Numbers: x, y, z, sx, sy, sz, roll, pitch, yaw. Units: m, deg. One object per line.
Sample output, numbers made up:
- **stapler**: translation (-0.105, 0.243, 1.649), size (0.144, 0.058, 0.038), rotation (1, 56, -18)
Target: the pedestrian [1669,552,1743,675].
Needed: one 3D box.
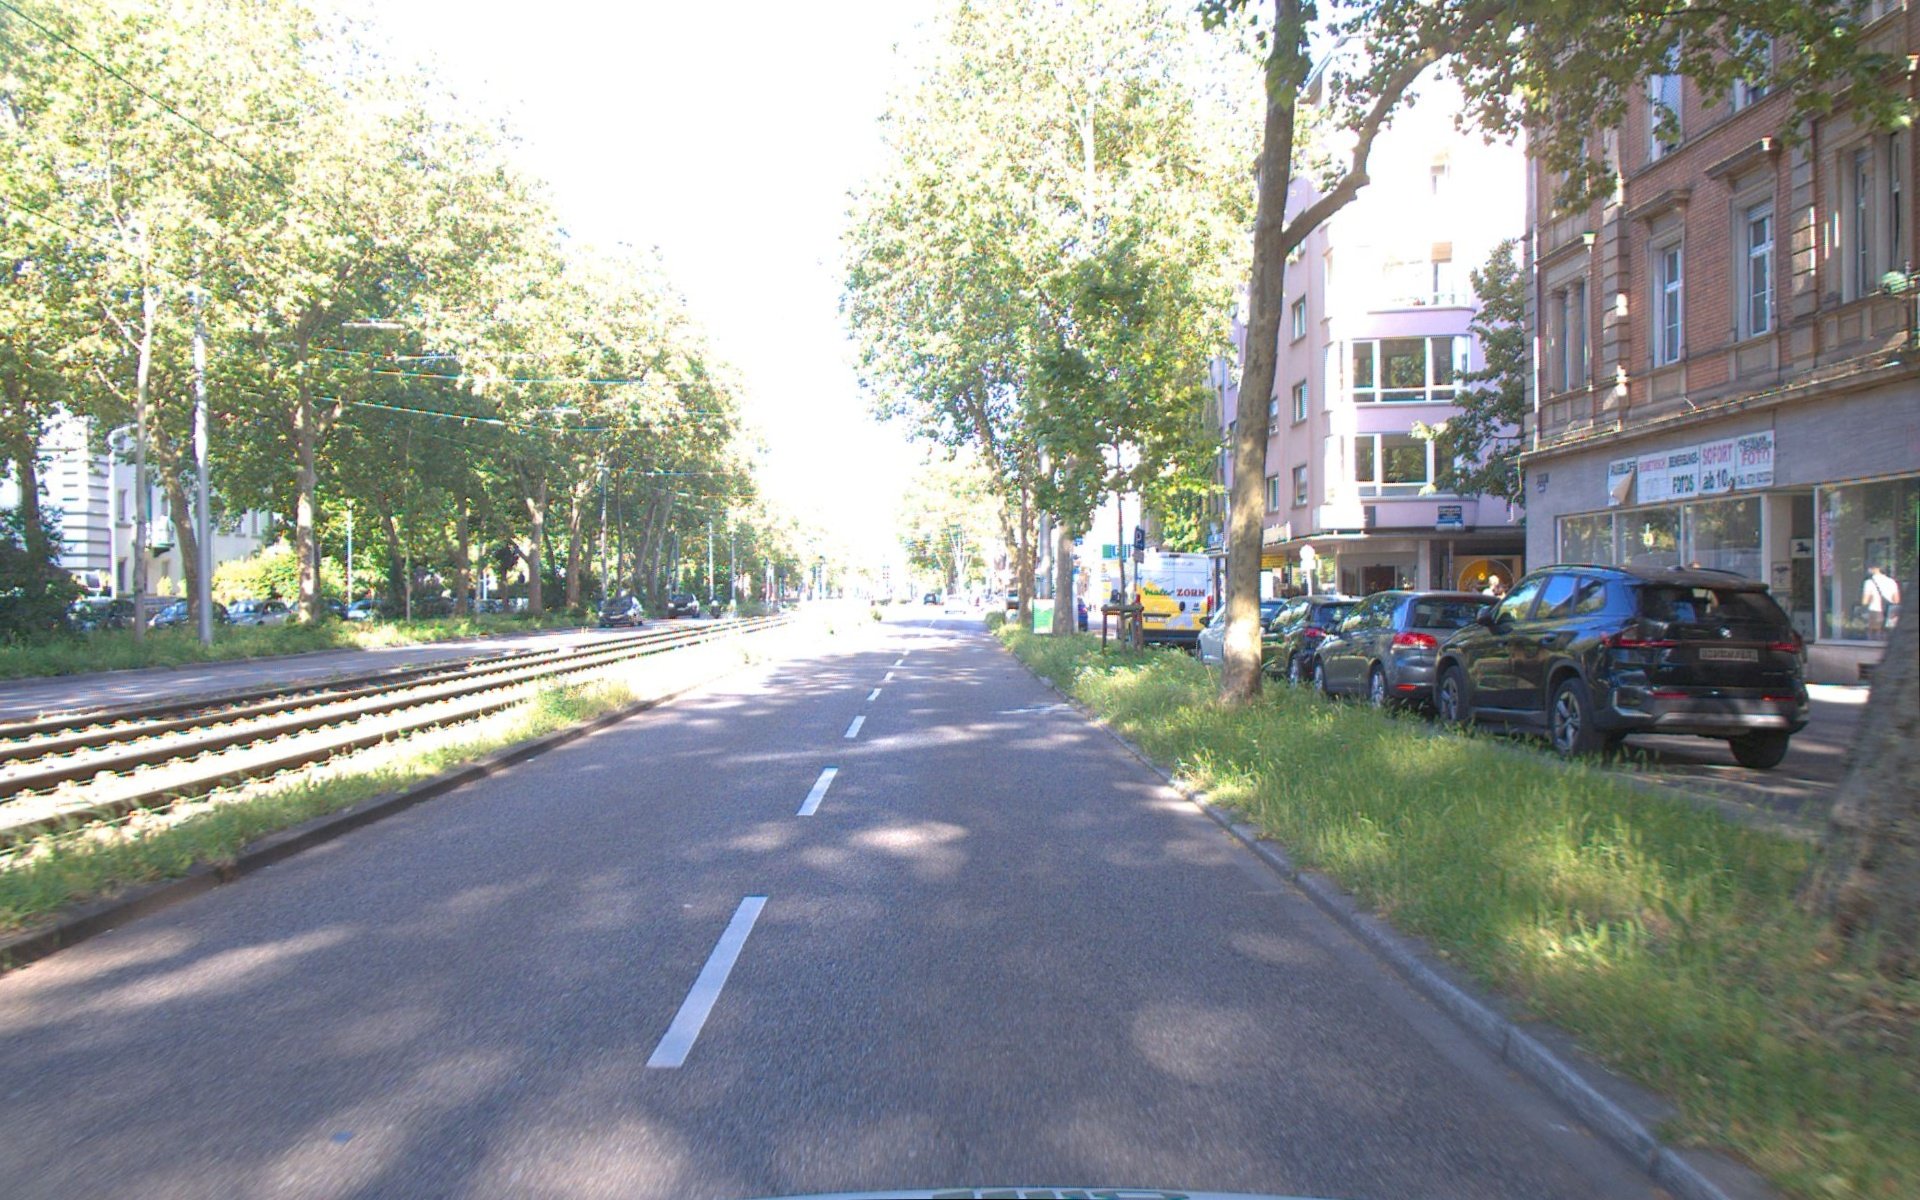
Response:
- **pedestrian**: translation (11.240, 0.202, 24.944), size (0.677, 1.819, 0.958), rotation (0, 0, 0)

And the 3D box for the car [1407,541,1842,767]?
- **car**: translation (5.788, 0.415, 15.174), size (1.853, 1.676, 4.798), rotation (2, 0, -3)

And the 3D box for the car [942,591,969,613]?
- **car**: translation (-0.345, 0.138, 126.820), size (1.981, 1.691, 3.999), rotation (0, 0, -2)

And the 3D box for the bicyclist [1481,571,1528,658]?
- **bicyclist**: translation (10.366, 0.278, 31.521), size (0.645, 1.643, 0.698), rotation (0, 0, -1)

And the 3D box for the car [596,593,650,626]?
- **car**: translation (-17.094, 0.480, 84.013), size (1.759, 1.534, 4.338), rotation (-3, 0, 0)

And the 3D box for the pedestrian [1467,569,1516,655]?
- **pedestrian**: translation (11.288, 0.245, 35.134), size (0.677, 1.786, 1.079), rotation (0, 0, 0)

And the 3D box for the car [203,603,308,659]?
- **car**: translation (-27.366, 1.162, 64.427), size (1.952, 2.049, 4.685), rotation (-1, 0, 1)

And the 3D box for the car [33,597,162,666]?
- **car**: translation (-27.138, 0.963, 52.196), size (1.953, 2.049, 4.092), rotation (-1, 0, -1)

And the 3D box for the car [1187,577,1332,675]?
- **car**: translation (5.356, 0.439, 30.041), size (1.718, 1.599, 4.183), rotation (2, 0, -2)

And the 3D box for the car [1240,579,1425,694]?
- **car**: translation (5.535, 0.508, 25.102), size (1.718, 1.522, 4.183), rotation (2, 0, -2)

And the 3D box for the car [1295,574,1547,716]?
- **car**: translation (5.511, 0.493, 20.355), size (1.702, 1.489, 4.363), rotation (2, 0, -2)

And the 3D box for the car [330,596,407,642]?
- **car**: translation (-27.670, 0.848, 77.505), size (1.953, 2.049, 4.683), rotation (-1, 0, -1)

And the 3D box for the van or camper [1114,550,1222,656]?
- **van or camper**: translation (5.349, 0.072, 43.334), size (2.139, 2.524, 6.269), rotation (2, 0, 1)

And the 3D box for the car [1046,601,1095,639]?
- **car**: translation (4.704, 0.838, 70.912), size (1.649, 1.540, 3.665), rotation (0, 0, -3)

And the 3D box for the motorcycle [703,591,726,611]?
- **motorcycle**: translation (-15.379, 0.036, 103.534), size (0.944, 1.233, 3.351), rotation (-1, 0, -1)

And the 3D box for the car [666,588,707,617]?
- **car**: translation (-18.928, 0.129, 114.629), size (1.953, 1.903, 4.872), rotation (-2, 0, 0)

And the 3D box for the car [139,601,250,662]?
- **car**: translation (-27.169, 1.085, 58.857), size (1.952, 2.049, 4.103), rotation (-1, 0, 1)

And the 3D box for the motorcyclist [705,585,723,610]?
- **motorcyclist**: translation (-15.381, -0.155, 103.383), size (0.925, 1.540, 0.958), rotation (-1, 0, -1)

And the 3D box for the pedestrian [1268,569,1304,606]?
- **pedestrian**: translation (11.619, -0.448, 58.906), size (1.119, 1.278, 0.749), rotation (-1, 0, -1)
